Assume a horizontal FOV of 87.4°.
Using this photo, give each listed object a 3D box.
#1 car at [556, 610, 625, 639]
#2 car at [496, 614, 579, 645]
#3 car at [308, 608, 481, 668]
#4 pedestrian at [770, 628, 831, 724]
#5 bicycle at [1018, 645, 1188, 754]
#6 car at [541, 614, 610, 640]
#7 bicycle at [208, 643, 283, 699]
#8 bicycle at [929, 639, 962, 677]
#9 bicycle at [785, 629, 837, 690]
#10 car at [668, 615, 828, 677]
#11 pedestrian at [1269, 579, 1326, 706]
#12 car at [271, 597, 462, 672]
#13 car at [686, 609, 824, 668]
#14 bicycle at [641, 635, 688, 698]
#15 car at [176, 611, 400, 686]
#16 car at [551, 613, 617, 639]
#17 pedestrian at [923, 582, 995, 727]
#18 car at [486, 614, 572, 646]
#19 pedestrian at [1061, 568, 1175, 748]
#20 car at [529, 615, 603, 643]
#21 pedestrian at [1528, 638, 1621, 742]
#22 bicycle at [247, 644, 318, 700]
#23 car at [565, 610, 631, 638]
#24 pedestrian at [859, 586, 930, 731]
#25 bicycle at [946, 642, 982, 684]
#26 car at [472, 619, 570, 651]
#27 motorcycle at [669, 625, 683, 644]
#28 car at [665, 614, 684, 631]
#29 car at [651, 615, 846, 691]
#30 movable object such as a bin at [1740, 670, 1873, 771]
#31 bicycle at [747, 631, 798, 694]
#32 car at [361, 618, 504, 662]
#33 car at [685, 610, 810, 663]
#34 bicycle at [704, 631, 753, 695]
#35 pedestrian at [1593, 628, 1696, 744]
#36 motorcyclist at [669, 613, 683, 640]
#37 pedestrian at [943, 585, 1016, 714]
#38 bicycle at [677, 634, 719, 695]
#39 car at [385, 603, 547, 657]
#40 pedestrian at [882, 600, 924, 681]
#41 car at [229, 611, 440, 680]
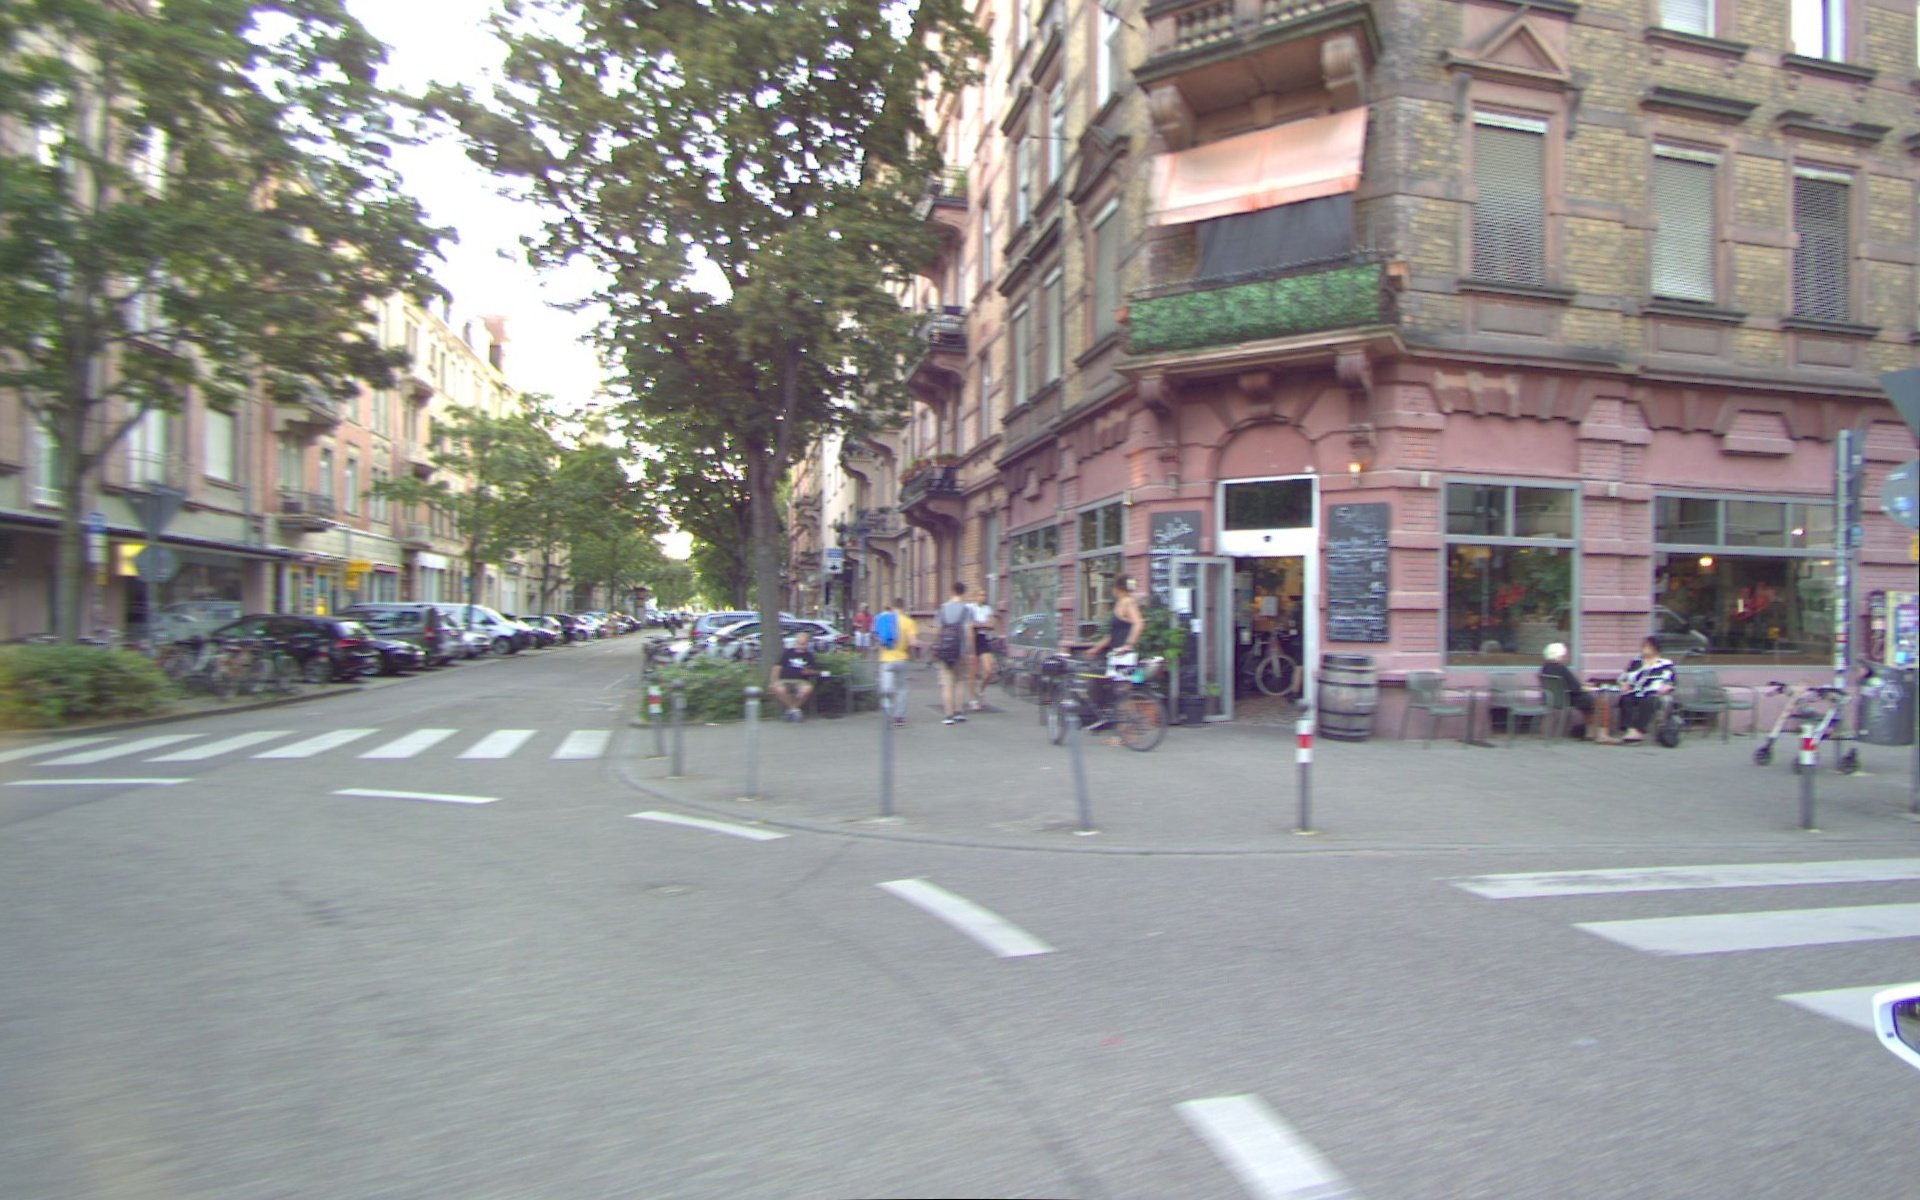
[{"bbox_3d":[-24.697,1.649,67.294,3.927,1.809,1.997,2,0,-9],"label":"car"},{"bbox_3d":[-22.340,1.583,53.256,3.747,1.528,1.716,2,-2,-14],"label":"car"},{"bbox_3d":[-16.292,1.113,29.151,3.932,1.595,1.903,2,-2,-14],"label":"car"},{"bbox_3d":[-2.325,1.077,14.586,0.724,1.322,0.789,-2,-1,-18],"label":"pedestrian"},{"bbox_3d":[1.535,1.042,10.928,1.747,1.039,0.610,-1,1,37],"label":"bicycle"},{"bbox_3d":[-24.003,1.675,62.825,3.747,1.528,1.716,2,-2,-14],"label":"car"},{"bbox_3d":[-12.929,1.263,18.206,0.468,0.907,1.487,2,0,-9],"label":"bicycle"},{"bbox_3d":[-0.376,1.448,25.222,0.588,0.901,1.493,0,-1,-10],"label":"bicycle"},{"bbox_3d":[-3.243,1.253,21.771,0.678,1.200,1.802,-1,0,-23],"label":"bicycle"},{"bbox_3d":[-6.171,1.322,29.309,4.398,1.647,1.884,2,0,-14],"label":"car"},{"bbox_3d":[4.777,0.575,14.197,0.653,1.719,0.656,1,4,30],"label":"pedestrian"},{"bbox_3d":[-15.830,0.948,27.016,3.932,1.862,1.995,2,-2,-14],"label":"car"},{"bbox_3d":[-6.903,1.296,33.871,4.398,1.824,1.972,2,0,-15],"label":"car"},{"bbox_3d":[-6.120,1.339,20.724,0.696,1.192,1.942,-1,0,-23],"label":"bicycle"},{"bbox_3d":[-14.531,1.052,21.921,3.624,1.496,1.717,2,-2,-14],"label":"car"},{"bbox_3d":[-24.187,1.693,64.762,3.747,1.528,1.716,2,-2,-14],"label":"car"},{"bbox_3d":[-0.024,0.700,13.513,0.745,1.853,0.886,-2,1,-12],"label":"pedestrian"},{"bbox_3d":[-21.914,1.538,51.177,3.747,1.528,1.716,2,-2,-14],"label":"car"},{"bbox_3d":[1.747,0.605,11.098,1.006,1.880,0.722,-1,1,37],"label":"pedestrian"},{"bbox_3d":[-22.764,1.690,58.179,3.747,1.528,1.716,2,-2,-14],"label":"car"},{"bbox_3d":[7.165,1.040,11.727,0.777,1.158,0.504,2,0,-12],"label":"pedestrian"},{"bbox_3d":[-12.301,1.290,18.277,0.468,0.907,1.487,2,0,-9],"label":"bicycle"},{"bbox_3d":[-25.164,1.659,69.883,3.927,1.809,1.997,2,0,-9],"label":"car"},{"bbox_3d":[-0.875,0.743,13.246,0.746,1.815,0.785,-2,1,-16],"label":"pedestrian"},{"bbox_3d":[0.082,1.444,23.281,0.588,0.901,1.493,0,-1,-10],"label":"bicycle"},{"bbox_3d":[-19.763,1.562,45.335,3.747,1.329,1.716,2,-2,-14],"label":"car"},{"bbox_3d":[-19.833,2.363,70.071,0.891,1.229,2.501,2,0,-16],"label":"motorcycle"},{"bbox_3d":[-31.820,2.452,112.137,1.910,1.771,3.987,2,0,-15],"label":"car"},{"bbox_3d":[-5.080,1.263,24.225,4.398,1.647,1.884,2,0,-14],"label":"car"},{"bbox_3d":[8.618,1.212,10.250,0.718,0.928,0.761,2,0,-17],"label":"movable object such as a bin"},{"bbox_3d":[-4.045,1.309,21.589,0.678,1.235,1.802,-1,0,-23],"label":"bicycle"},{"bbox_3d":[-17.125,1.306,32.787,3.747,1.329,1.716,2,-2,-14],"label":"car"},{"bbox_3d":[-7.912,1.362,37.469,4.398,1.824,1.972,2,0,-15],"label":"car"},{"bbox_3d":[-4.903,1.305,21.202,0.678,1.219,1.802,-1,0,-23],"label":"bicycle"},{"bbox_3d":[8.127,0.991,11.936,0.897,1.271,0.645,0,3,-29],"label":"pedestrian"},{"bbox_3d":[-19.813,1.863,70.083,0.891,1.820,1.098,2,0,-16],"label":"motorcyclist"},{"bbox_3d":[0.282,0.718,15.128,0.744,1.835,1.045,-2,1,-18],"label":"pedestrian"},{"bbox_3d":[-5.460,1.305,20.884,0.577,1.173,1.798,-1,0,-23],"label":"bicycle"},{"bbox_3d":[-18.486,1.134,37.826,5.018,1.854,2.114,2,-2,-11],"label":"car"},{"bbox_3d":[-1.280,0.878,22.485,0.684,1.748,0.849,-2,1,-18],"label":"pedestrian"},{"bbox_3d":[-15.070,1.108,24.444,3.934,1.530,1.847,2,-2,-16],"label":"car"}]
